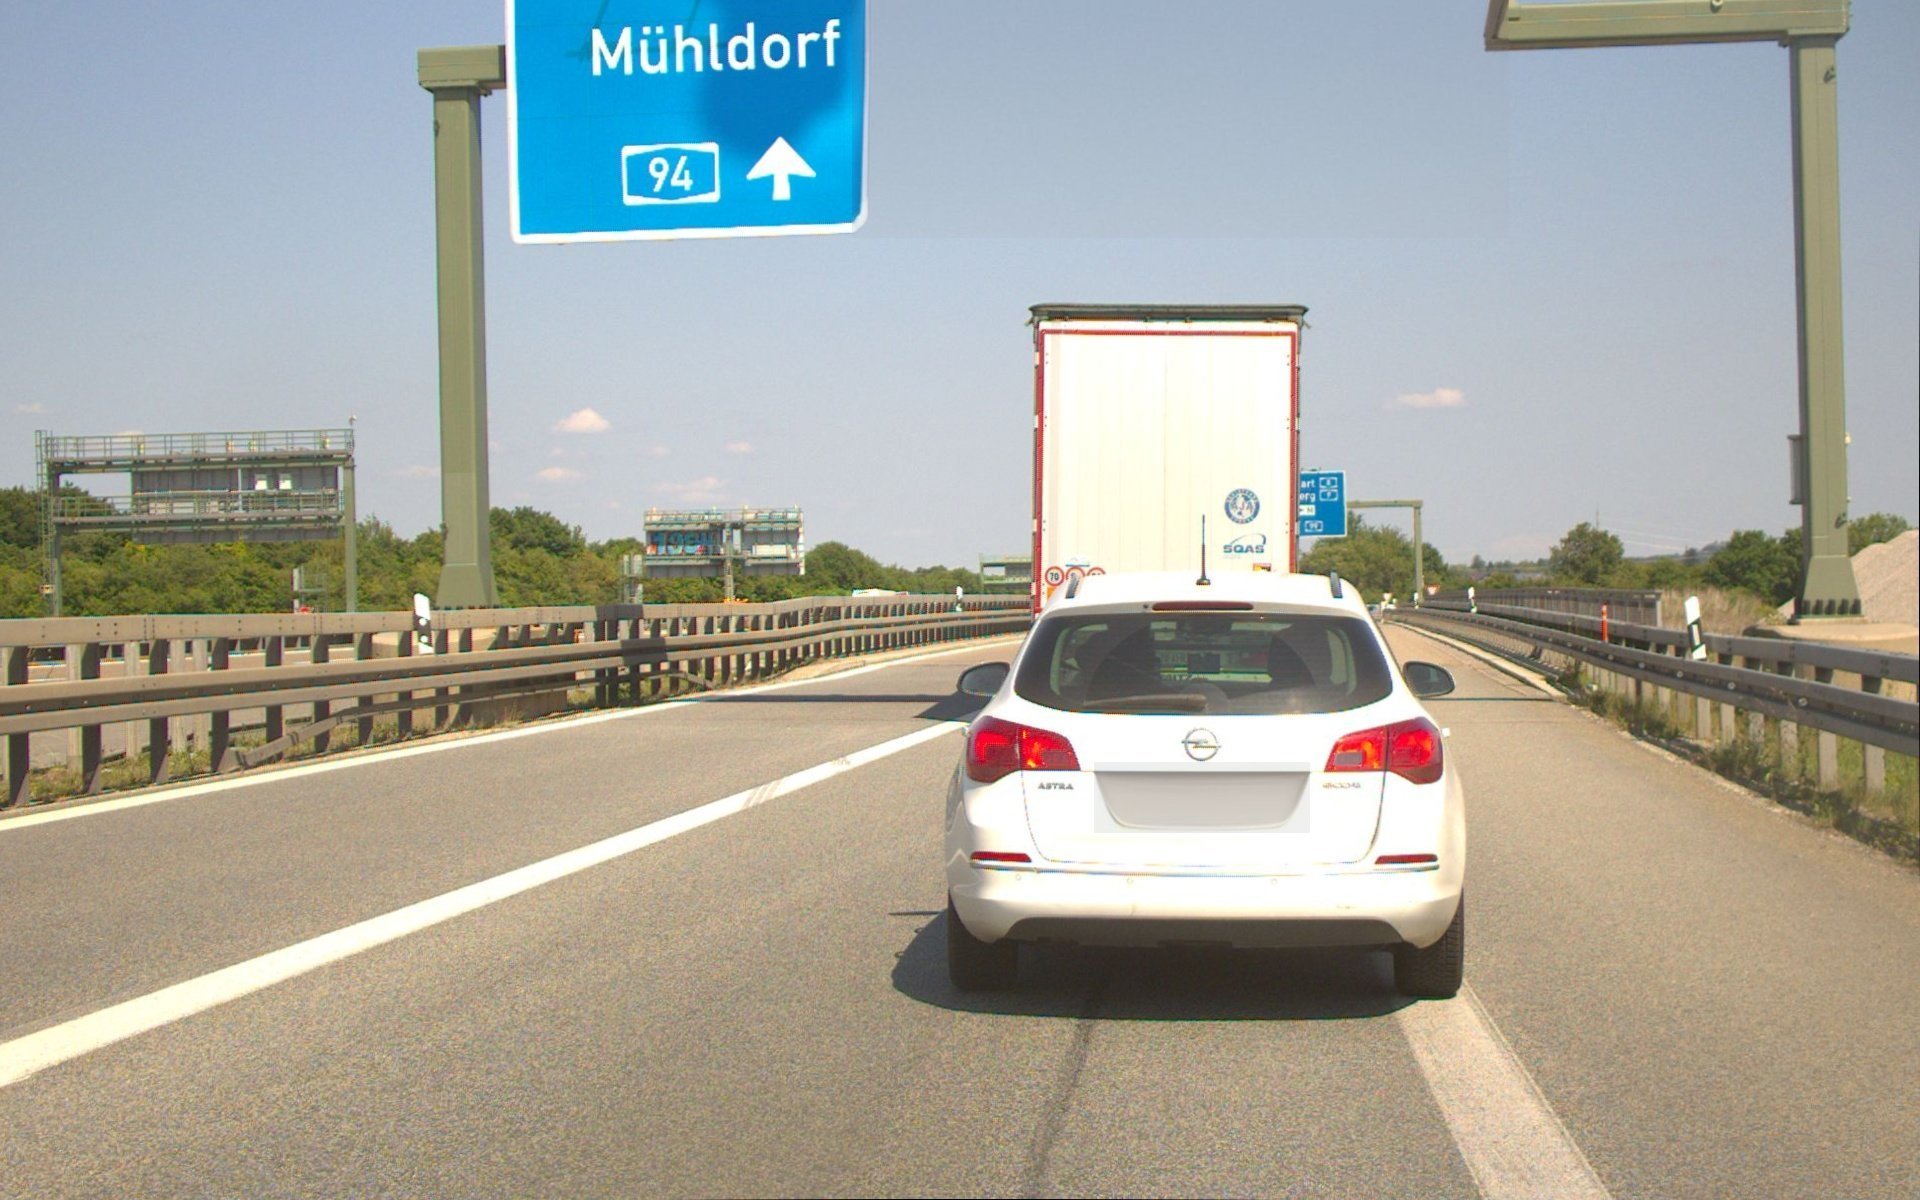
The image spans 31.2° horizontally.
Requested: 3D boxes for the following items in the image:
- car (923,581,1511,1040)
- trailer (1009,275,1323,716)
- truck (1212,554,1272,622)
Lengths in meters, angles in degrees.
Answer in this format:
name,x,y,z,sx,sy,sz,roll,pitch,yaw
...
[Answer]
name,x,y,z,sx,sy,sz,roll,pitch,yaw
car,0.970,0.664,13.120,1.854,1.438,4.371,0,0,4
trailer,2.358,-0.922,38.049,2.913,4.131,11.255,1,-1,4
truck,18.523,-0.739,225.119,3.540,4.131,11.255,2,0,6
